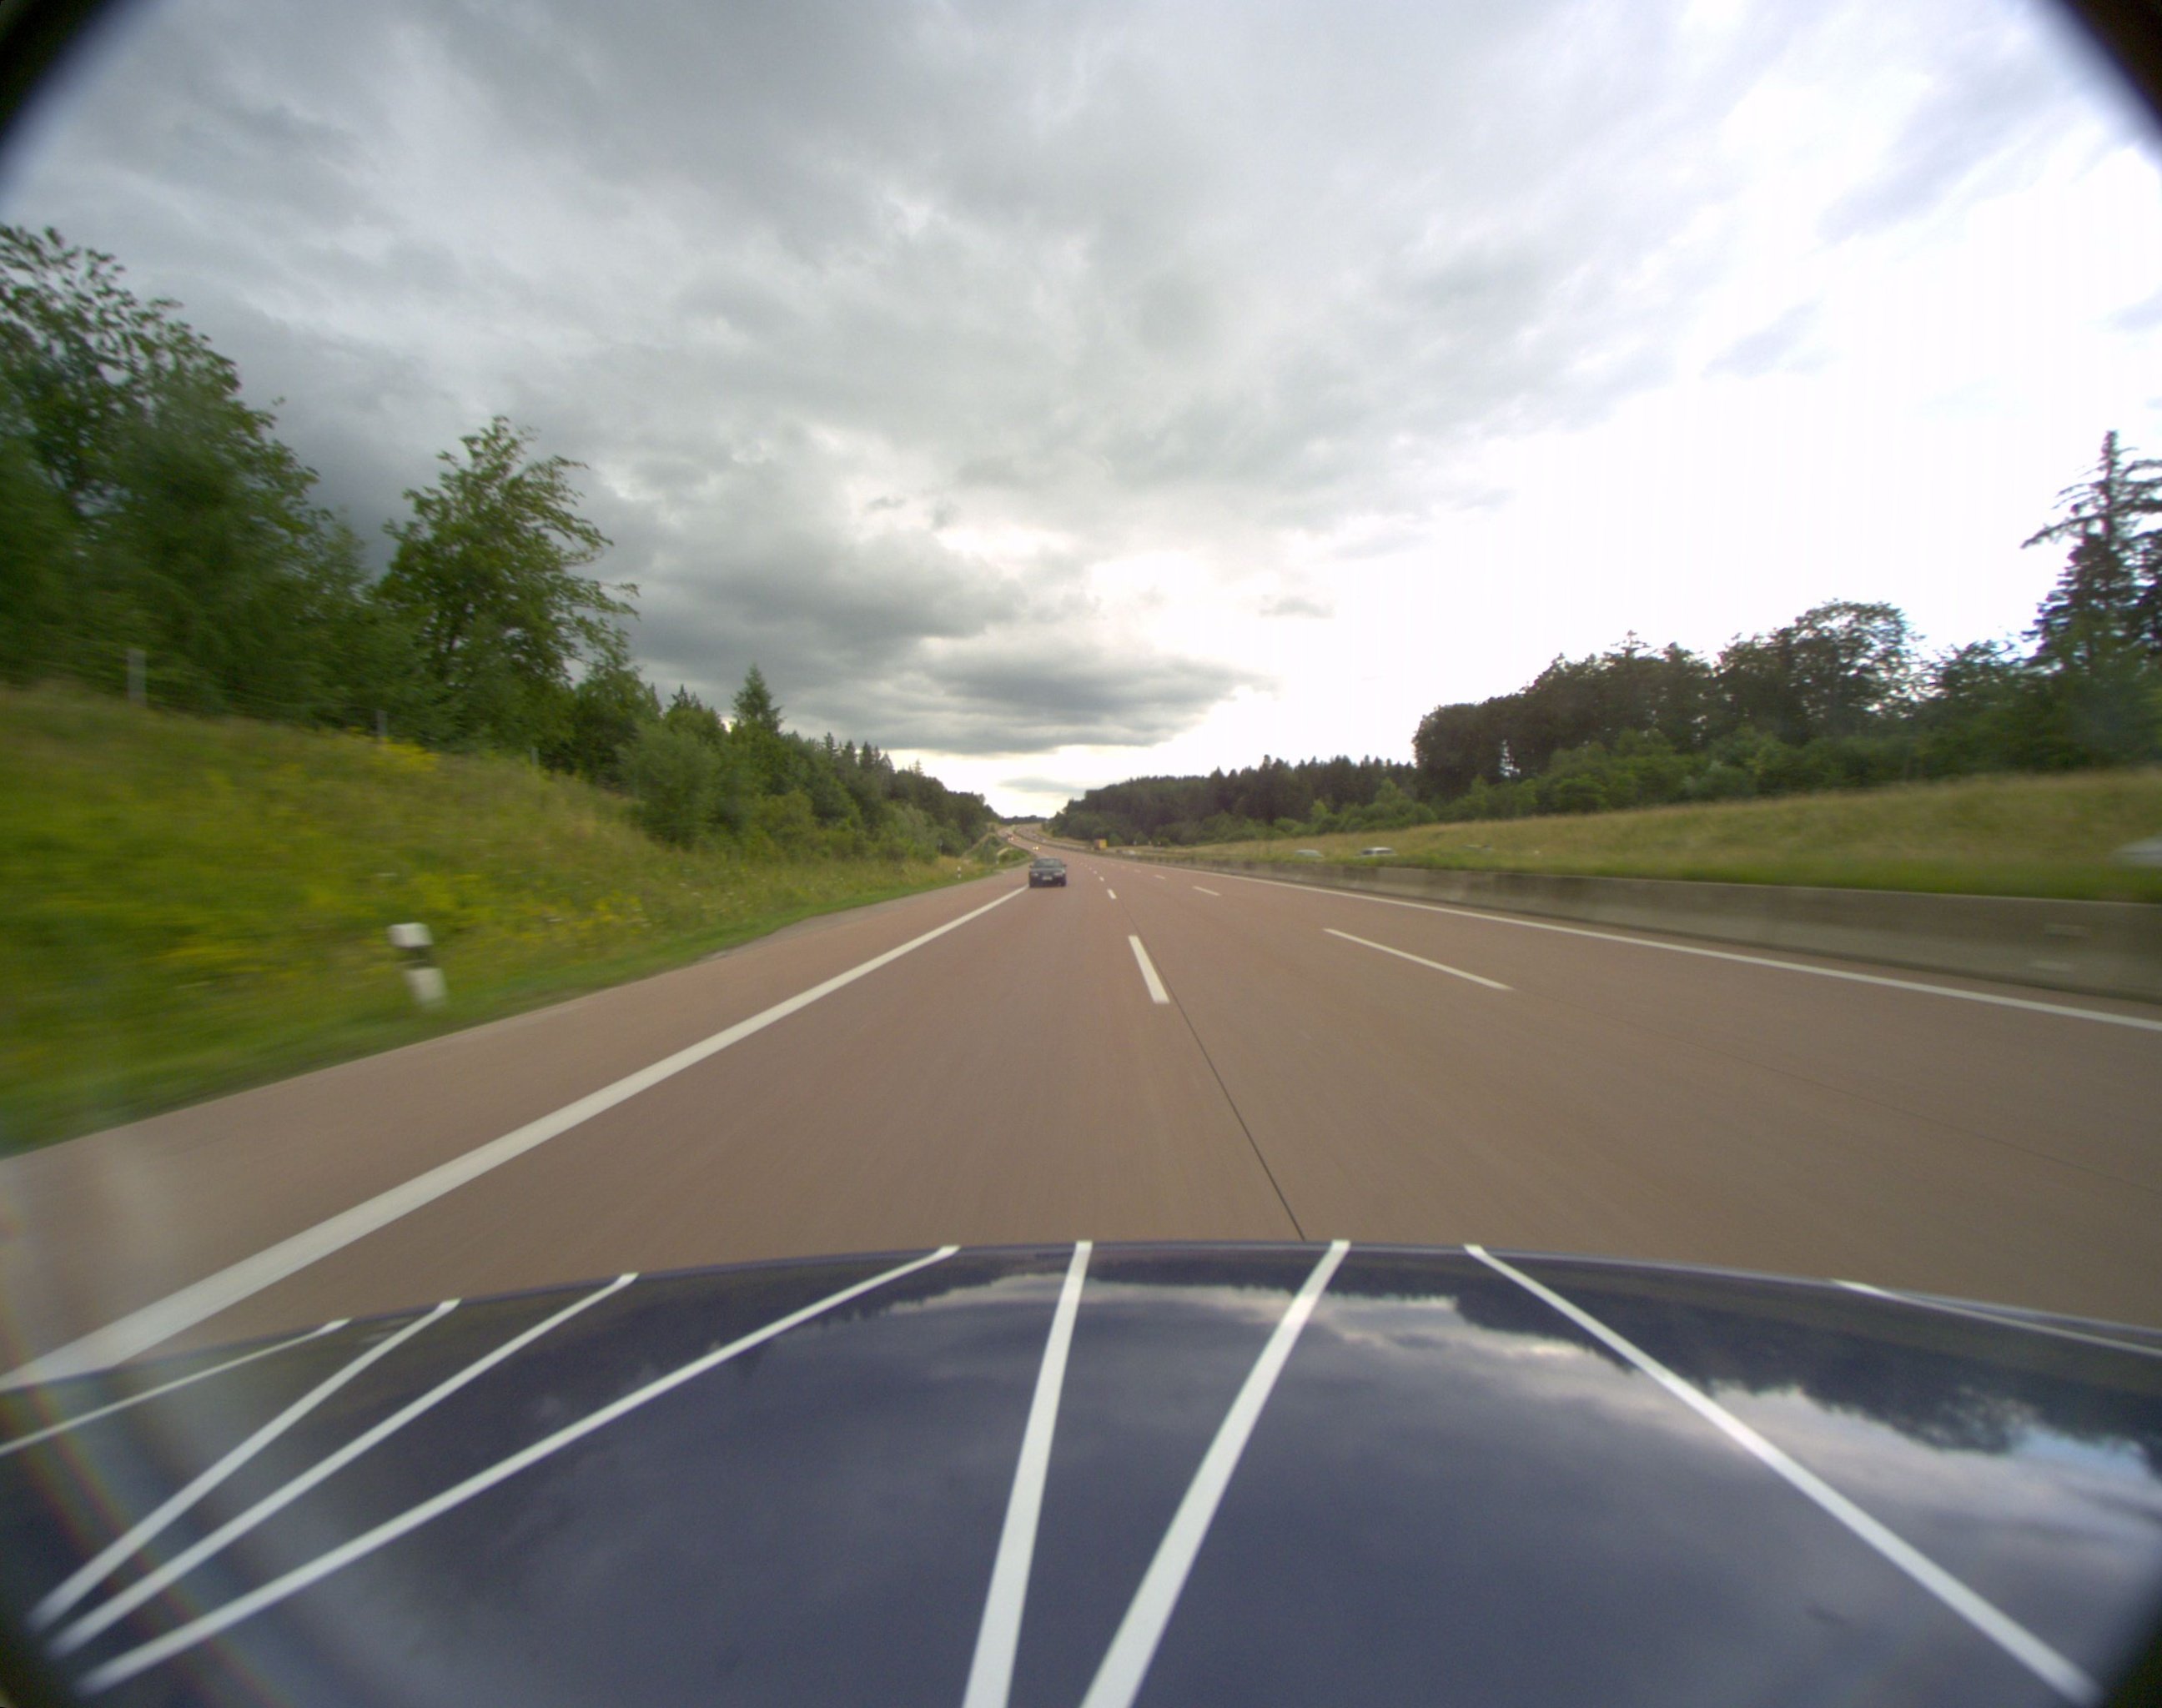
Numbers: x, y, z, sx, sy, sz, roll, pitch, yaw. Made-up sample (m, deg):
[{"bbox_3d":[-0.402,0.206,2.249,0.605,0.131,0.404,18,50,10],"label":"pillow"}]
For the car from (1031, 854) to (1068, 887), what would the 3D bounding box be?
[{"bbox_3d":[-1.495,0.765,37.419,1.676,1.395,4.231,-1,2,-1],"label":"car"}]

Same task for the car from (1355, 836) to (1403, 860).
[{"bbox_3d":[19.187,-0.411,49.060,1.600,1.409,3.803,-2,2,0],"label":"car"}]

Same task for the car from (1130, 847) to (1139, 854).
[{"bbox_3d":[13.984,-0.893,198.377,1.674,1.517,4.823,-2,2,-3],"label":"car"}]

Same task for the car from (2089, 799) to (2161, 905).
[{"bbox_3d":[19.965,-0.065,11.756,1.923,1.864,5.151,-2,0,1],"label":"car"}]

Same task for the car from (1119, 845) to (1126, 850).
[{"bbox_3d":[13.604,-2.103,248.170,1.767,1.629,4.378,-2,2,-2],"label":"car"}]
